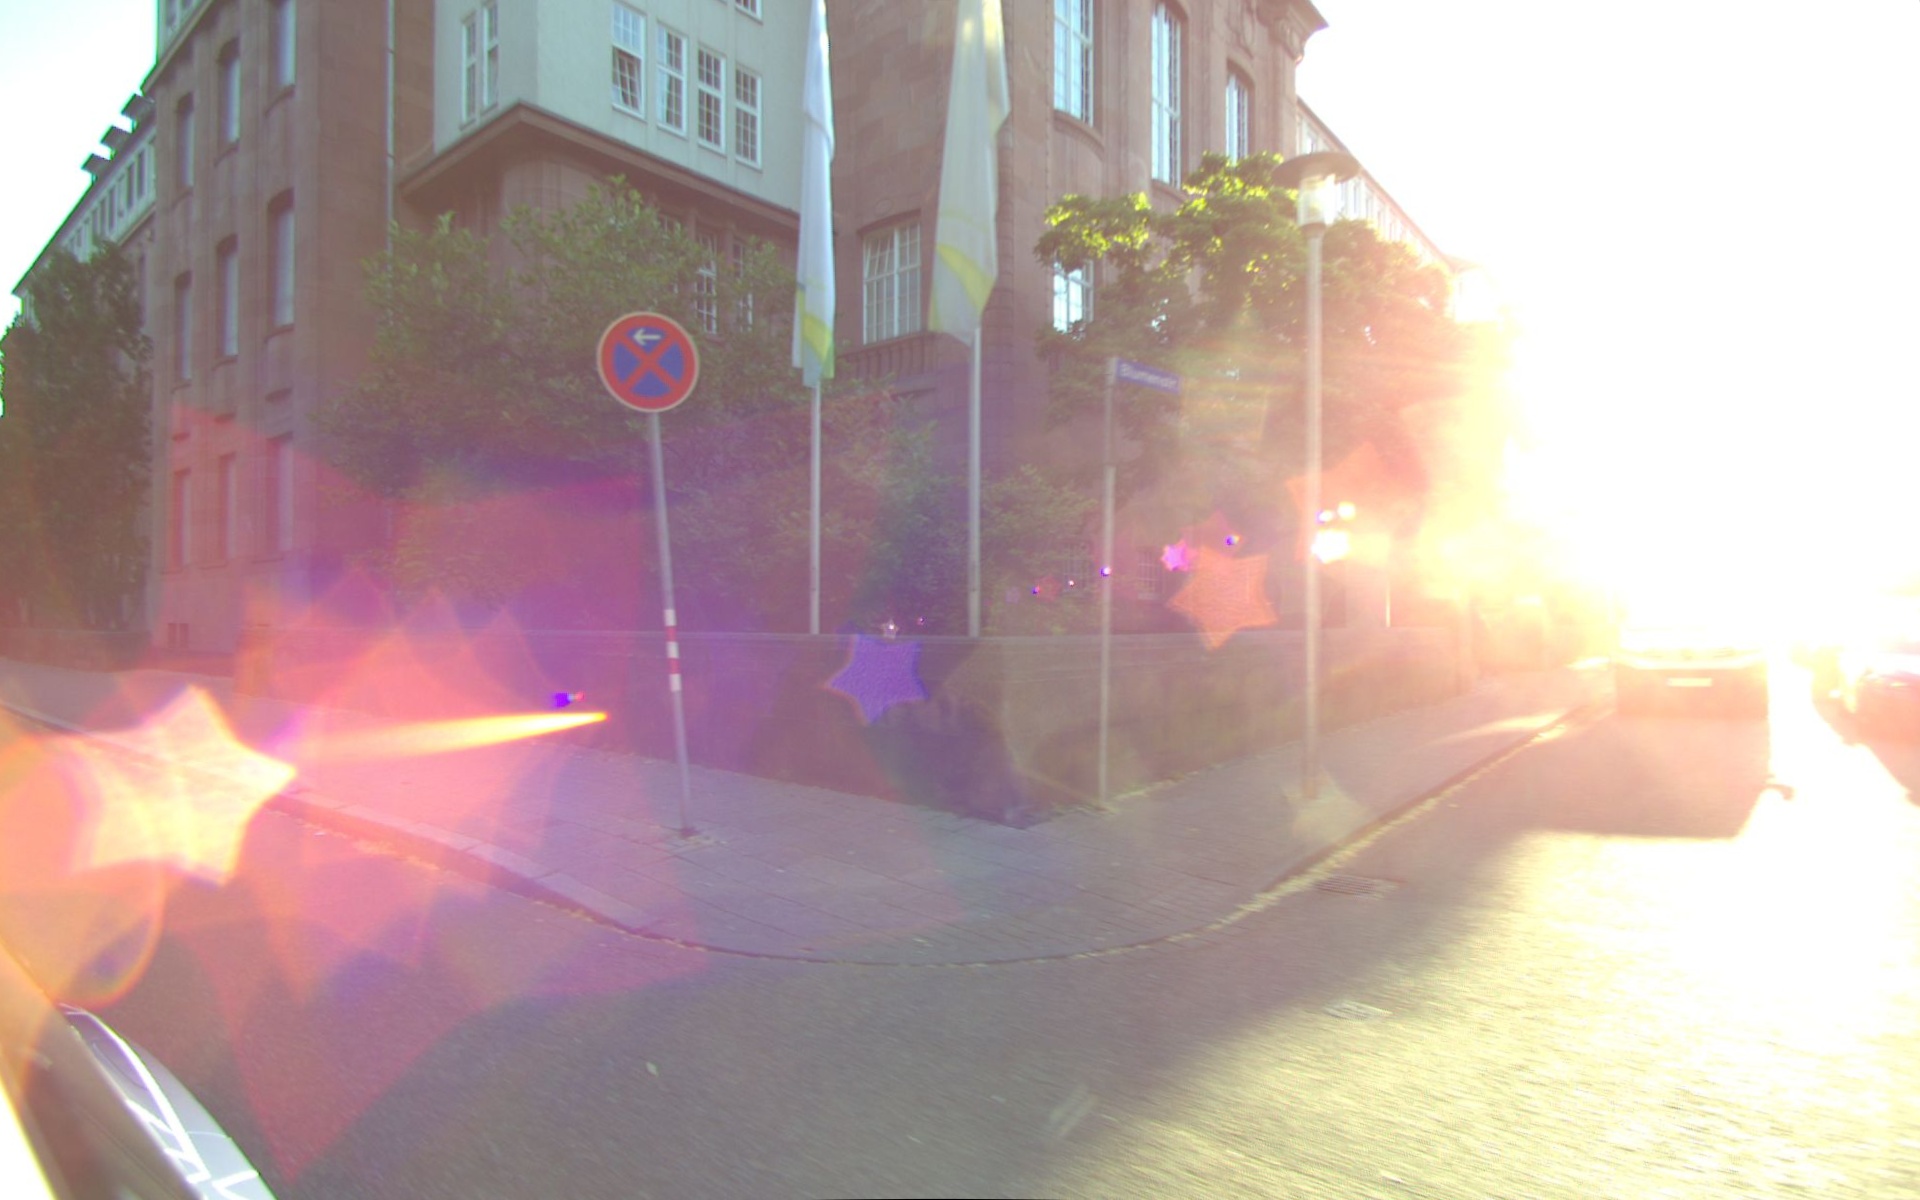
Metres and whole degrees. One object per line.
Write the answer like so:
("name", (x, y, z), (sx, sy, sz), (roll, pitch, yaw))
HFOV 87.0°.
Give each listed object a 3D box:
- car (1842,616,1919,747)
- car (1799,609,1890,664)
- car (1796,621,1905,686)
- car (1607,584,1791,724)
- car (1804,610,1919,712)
("car", (12.756, 0.961, 12.845), (1.997, 1.422, 5.044), (1, 0, 37))
("car", (27.887, 1.086, 32.034), (1.999, 1.574, 5.040), (1, 0, 40))
("car", (24.230, 1.377, 27.693), (1.998, 1.520, 5.041), (1, 0, 39))
("car", (11.898, 0.794, 16.220), (1.997, 1.889, 5.042), (-3, -3, 38))
("car", (16.070, 0.969, 17.559), (1.998, 1.520, 5.043), (1, 0, 38))
